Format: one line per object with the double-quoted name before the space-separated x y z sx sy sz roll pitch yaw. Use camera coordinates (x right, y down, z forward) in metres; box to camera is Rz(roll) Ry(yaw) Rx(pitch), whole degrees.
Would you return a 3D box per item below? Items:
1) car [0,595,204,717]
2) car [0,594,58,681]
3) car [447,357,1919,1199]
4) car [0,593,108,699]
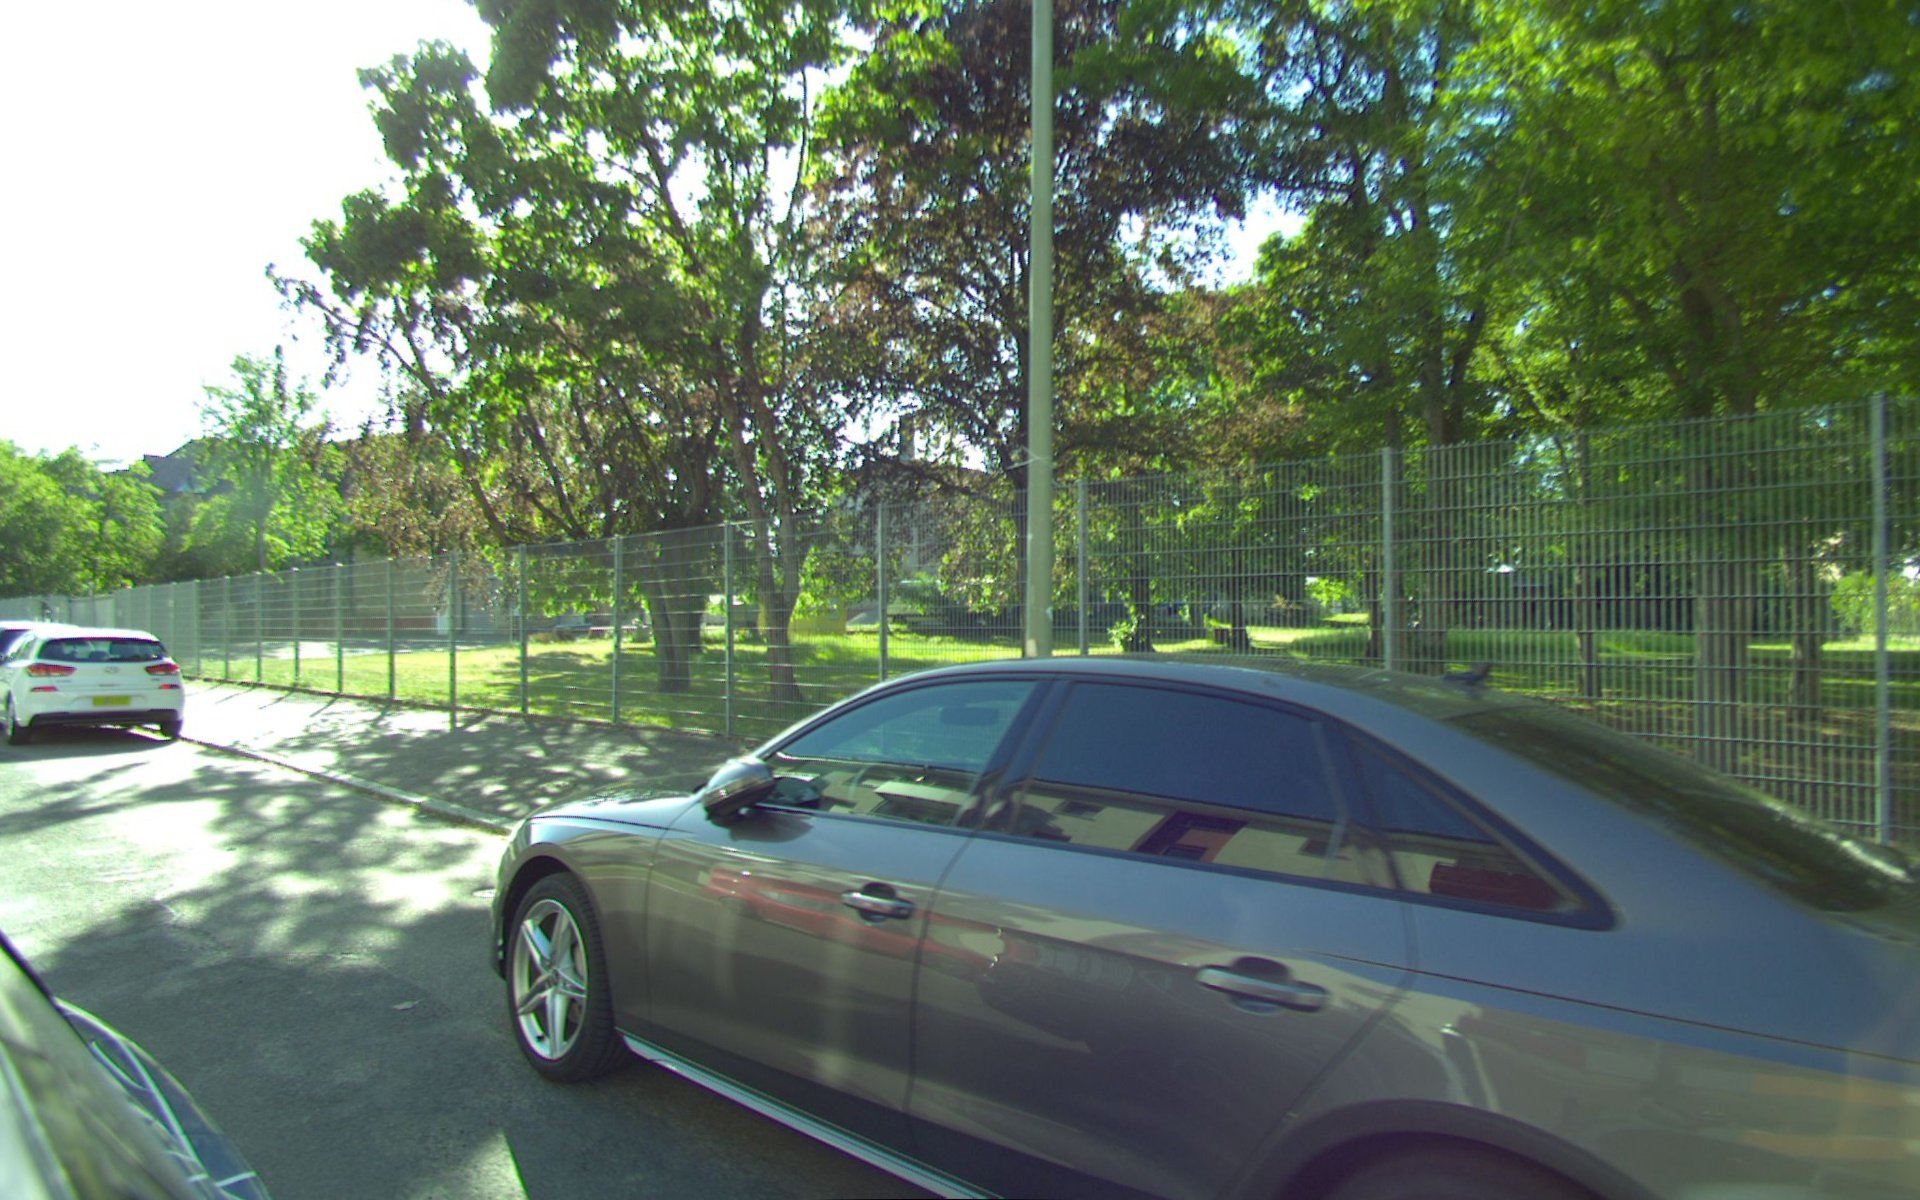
"car" -12.207 0.762 14.086 4.116 1.456 1.776 -2 -4 40
"car" -20.253 0.760 20.889 4.160 1.676 1.695 -2 -5 39
"car" 0.494 0.530 2.883 4.497 1.482 1.776 -2 -4 39
"car" -16.237 0.805 17.499 3.612 1.656 1.548 -2 -6 39
